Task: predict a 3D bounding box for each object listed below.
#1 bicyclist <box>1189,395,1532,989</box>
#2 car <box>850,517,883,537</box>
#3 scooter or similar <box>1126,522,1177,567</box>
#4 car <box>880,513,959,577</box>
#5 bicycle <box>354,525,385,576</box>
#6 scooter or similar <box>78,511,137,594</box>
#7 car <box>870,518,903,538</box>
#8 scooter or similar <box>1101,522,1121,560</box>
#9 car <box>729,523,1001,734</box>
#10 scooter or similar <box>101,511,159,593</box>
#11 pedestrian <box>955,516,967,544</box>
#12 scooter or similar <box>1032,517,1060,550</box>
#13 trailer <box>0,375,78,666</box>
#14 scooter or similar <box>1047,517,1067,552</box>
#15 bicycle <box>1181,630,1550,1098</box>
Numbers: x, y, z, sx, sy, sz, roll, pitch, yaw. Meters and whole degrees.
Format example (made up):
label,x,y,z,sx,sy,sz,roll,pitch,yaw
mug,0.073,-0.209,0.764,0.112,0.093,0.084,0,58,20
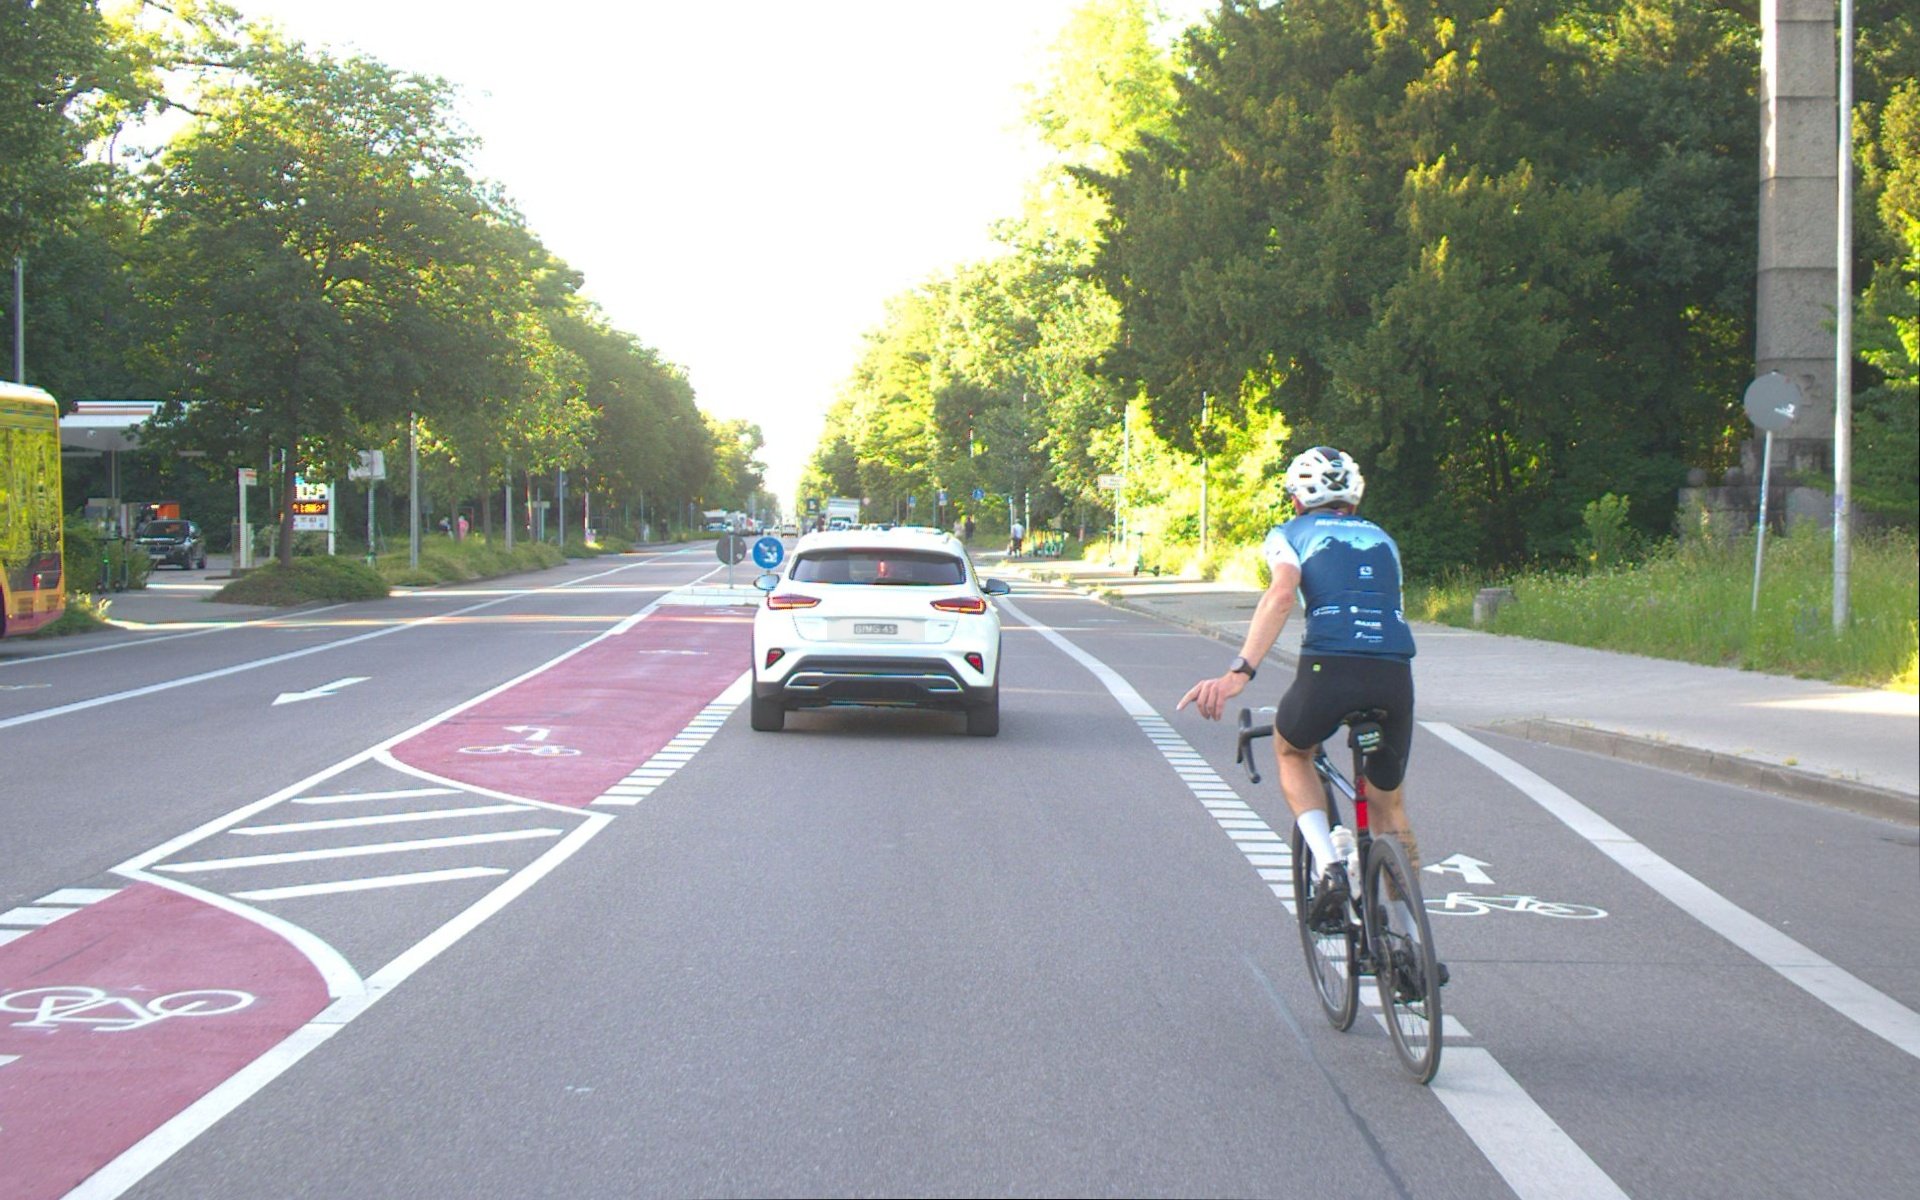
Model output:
label,x,y,z,sx,sy,sz,roll,pitch,yaw
bicyclist,1.096,0.233,9.609,0.860,1.562,0.881,1,1,3
car,-6.464,-5.030,237.133,1.993,1.322,4.001,0,1,-6
scooter or similar,5.331,-1.542,95.701,0.534,1.245,1.537,1,2,45
car,-0.895,-1.263,78.508,1.676,1.413,3.574,0,1,1
bicycle,-14.986,-1.266,87.244,0.654,1.246,2.160,0,1,-7
scooter or similar,-17.698,-0.999,71.409,0.827,1.711,1.741,0,1,-1
car,-4.752,-4.642,221.483,1.993,1.322,4.001,0,1,-3
scooter or similar,4.991,-1.964,113.550,0.533,1.245,1.541,0,1,-2
car,-0.794,0.162,26.157,1.761,1.454,3.819,1,1,-6
scooter or similar,-17.705,-1.036,73.352,0.827,1.711,1.741,0,1,-1
pedestrian,0.055,-4.107,202.690,0.698,1.647,0.876,0,1,-3
scooter or similar,3.639,-2.817,145.309,0.682,1.418,1.682,0,1,-18
trailer,-12.461,-0.922,38.069,2.854,3.344,9.363,2,1,0
scooter or similar,3.932,-2.665,139.292,0.682,1.418,1.682,0,1,-3
bicycle,1.100,0.682,9.822,0.891,1.091,2.136,1,2,3
